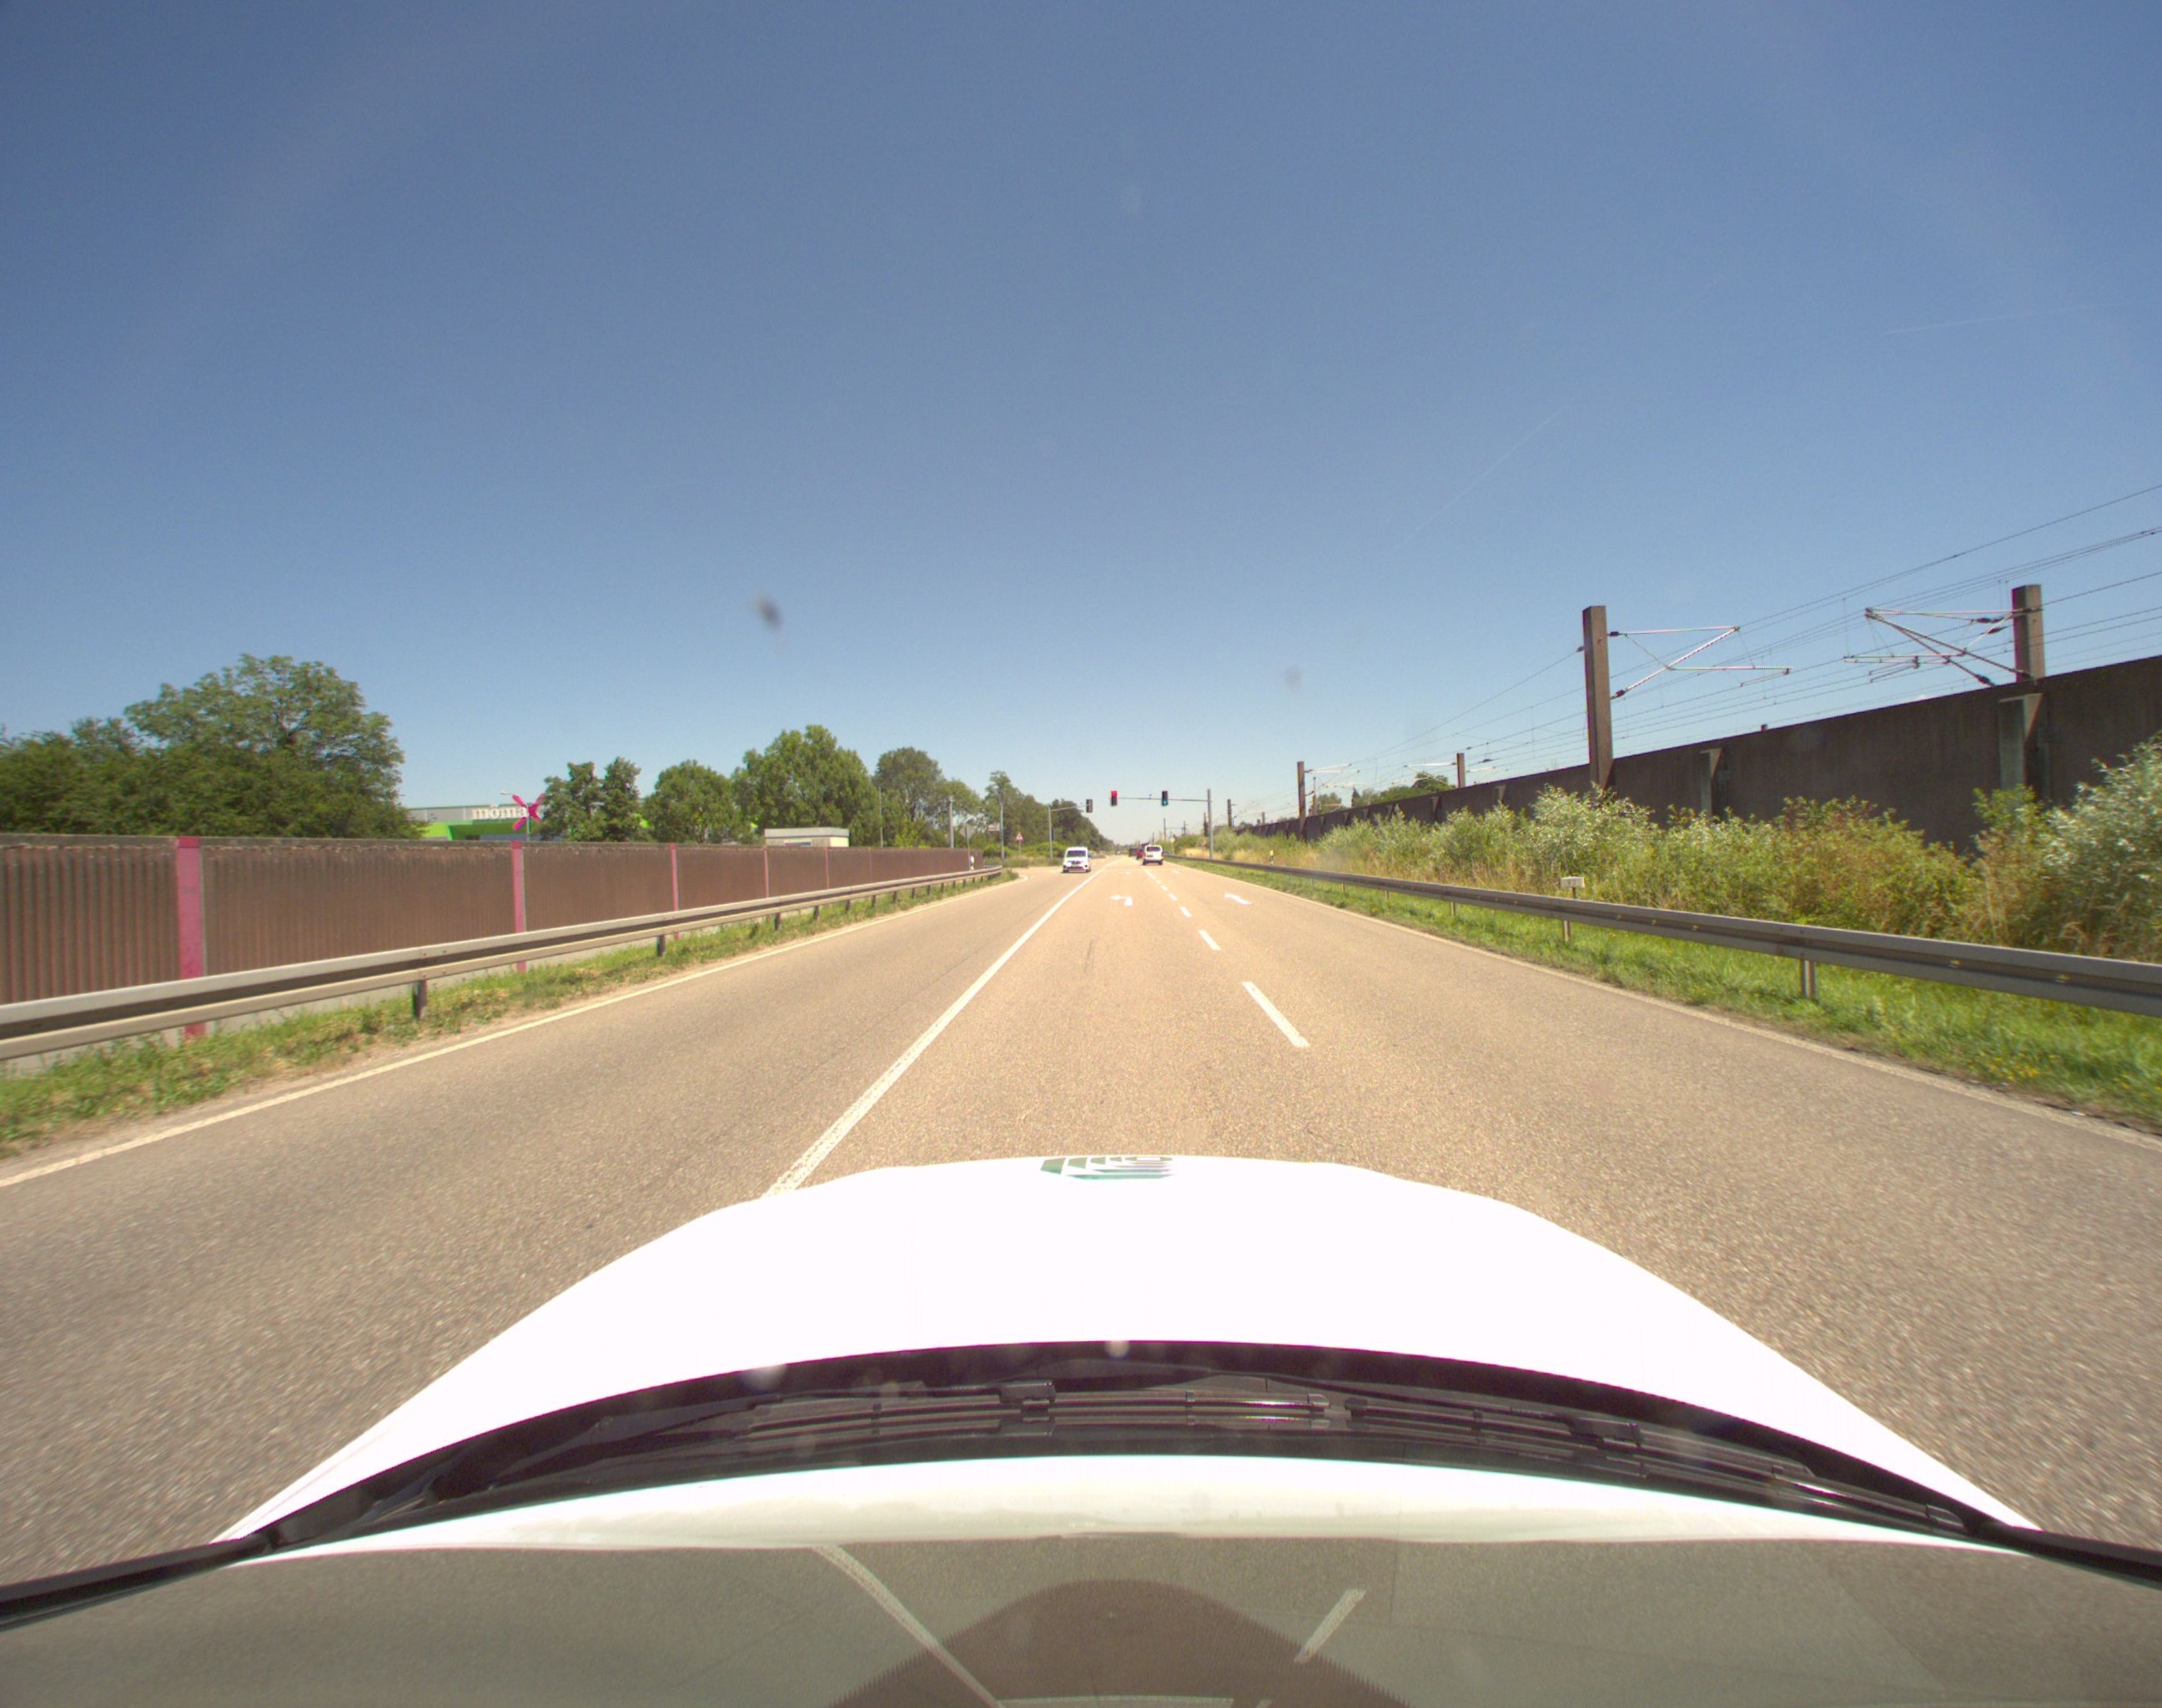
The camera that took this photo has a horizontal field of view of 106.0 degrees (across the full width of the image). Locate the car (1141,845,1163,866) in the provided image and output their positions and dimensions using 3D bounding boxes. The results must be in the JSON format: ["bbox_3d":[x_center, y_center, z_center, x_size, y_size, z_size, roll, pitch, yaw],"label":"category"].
[{"bbox_3d":[6.974,0.150,80.171,1.986,1.983,4.062,0,0,2],"label":"car"}]

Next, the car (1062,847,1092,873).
[{"bbox_3d":[-0.244,0.380,57.976,1.880,1.740,4.778,-1,0,2],"label":"car"}]

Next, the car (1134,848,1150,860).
[{"bbox_3d":[9.019,-0.053,120.519,2.012,1.726,4.544,-1,0,1],"label":"car"}]

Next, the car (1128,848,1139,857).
[{"bbox_3d":[11.238,-0.336,175.267,2.147,1.968,4.544,-1,0,1],"label":"car"}]
